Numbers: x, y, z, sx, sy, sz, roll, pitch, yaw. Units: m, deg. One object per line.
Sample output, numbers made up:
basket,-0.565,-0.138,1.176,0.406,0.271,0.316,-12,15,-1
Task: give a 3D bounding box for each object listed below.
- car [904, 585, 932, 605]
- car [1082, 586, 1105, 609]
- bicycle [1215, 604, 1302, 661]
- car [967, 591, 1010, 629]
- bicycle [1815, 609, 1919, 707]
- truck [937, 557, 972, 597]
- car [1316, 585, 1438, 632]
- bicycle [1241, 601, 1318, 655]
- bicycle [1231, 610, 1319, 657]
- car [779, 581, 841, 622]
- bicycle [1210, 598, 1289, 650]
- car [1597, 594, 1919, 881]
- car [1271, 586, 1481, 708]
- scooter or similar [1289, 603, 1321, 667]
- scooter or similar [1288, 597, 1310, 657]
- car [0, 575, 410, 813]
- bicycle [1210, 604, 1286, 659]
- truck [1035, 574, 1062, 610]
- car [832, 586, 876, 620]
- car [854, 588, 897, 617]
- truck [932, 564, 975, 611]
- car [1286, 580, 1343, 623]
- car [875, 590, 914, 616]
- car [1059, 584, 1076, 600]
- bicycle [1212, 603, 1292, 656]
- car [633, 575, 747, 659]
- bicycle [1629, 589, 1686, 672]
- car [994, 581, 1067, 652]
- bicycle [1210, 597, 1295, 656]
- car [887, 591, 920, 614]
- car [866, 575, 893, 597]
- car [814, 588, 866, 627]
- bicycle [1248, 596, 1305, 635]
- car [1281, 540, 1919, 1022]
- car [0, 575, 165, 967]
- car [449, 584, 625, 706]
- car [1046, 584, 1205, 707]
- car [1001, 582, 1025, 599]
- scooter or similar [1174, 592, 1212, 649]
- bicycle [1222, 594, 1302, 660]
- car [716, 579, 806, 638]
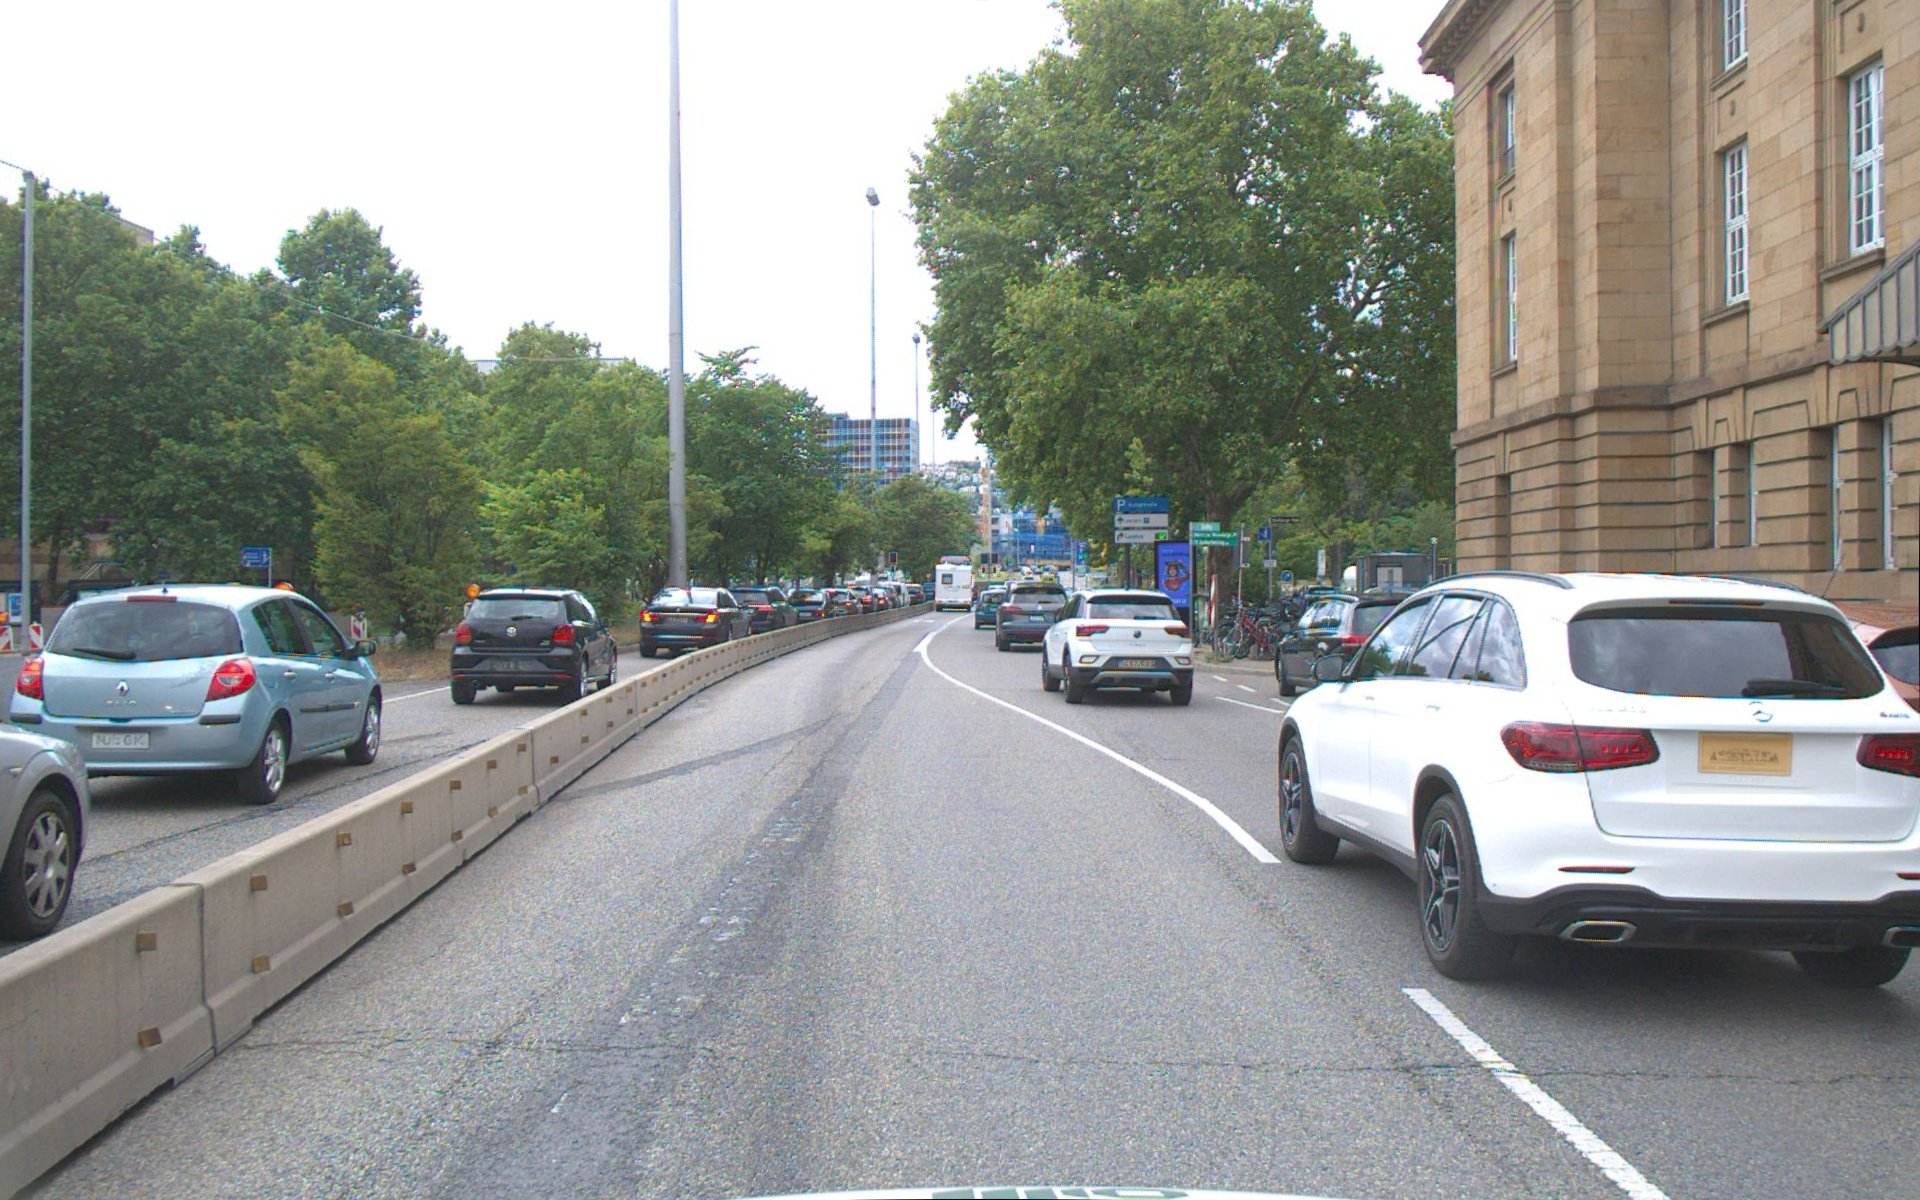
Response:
car,-2.842,-0.336,112.386,1.624,1.343,3.549,1,0,3
car,12.020,-0.251,149.621,1.952,2.049,4.002,1,0,3
bicycle,5.948,0.645,32.960,1.628,1.093,0.585,1,0,21
car,1.121,0.384,64.692,1.625,1.438,3.548,1,0,1
bicycle,10.391,0.640,18.988,0.217,1.047,1.859,1,0,1
truck,-0.394,-1.858,134.985,2.636,3.044,5.638,2,0,1
car,14.148,0.279,56.221,3.756,1.596,1.680,0,0,2
bicycle,6.561,0.570,33.954,1.530,1.046,0.436,1,0,13
bicycle,6.438,0.675,33.791,1.692,0.933,0.614,0,0,20
car,-5.269,0.030,58.551,1.643,1.391,4.544,0,0,2
bicycle,6.430,0.529,36.761,1.691,1.110,0.381,1,0,14
car,5.641,0.722,10.677,1.582,1.480,3.859,-1,0,1
car,5.625,0.585,22.883,1.752,1.512,4.325,1,0,-1
scooter or similar,7.241,0.723,34.704,0.550,1.301,1.149,1,0,7
scooter or similar,7.147,0.563,34.887,0.416,1.245,1.313,1,0,11
car,-5.532,0.608,12.635,1.639,1.533,3.850,1,0,-5
bicycle,6.071,0.663,34.816,1.588,1.150,0.466,1,0,-25
truck,10.388,-0.921,194.767,2.818,4.175,6.639,1,0,1
car,-4.663,0.098,73.087,1.740,1.445,3.999,0,1,-1
car,-4.101,0.116,80.834,1.624,1.343,3.549,1,0,5
truck,-0.348,-0.789,106.944,2.567,2.911,7.079,1,0,1
car,14.690,0.041,68.703,1.723,1.579,4.029,0,2,3
car,-3.471,0.163,87.701,1.624,1.343,3.549,1,0,5
car,11.603,-0.876,179.208,1.722,1.698,4.169,0,1,2
bicycle,6.421,0.642,36.369,1.691,1.110,0.575,1,0,10
car,-5.748,0.339,35.734,1.885,1.664,4.933,1,0,-3
bicycle,10.505,0.443,24.940,0.270,1.203,1.539,-1,0,4
car,1.722,0.397,41.467,1.625,1.668,3.547,1,0,-1
bicycle,6.350,0.564,35.914,1.722,1.230,0.604,1,0,-2
car,-3.315,0.155,97.406,1.624,1.343,3.549,1,0,3
car,-7.519,-1.265,154.676,2.071,2.004,5.580,0,0,2
car,-4.724,0.300,65.541,1.627,1.461,3.961,1,0,2
bicycle,10.120,0.503,52.977,1.747,1.242,0.492,0,0,4
car,2.883,0.628,7.943,1.751,1.653,4.436,1,0,-1
car,-4.525,0.648,5.463,1.842,1.507,4.699,1,0,-5
car,-5.566,0.548,22.212,1.627,1.479,4.193,1,0,-5
car,2.303,0.606,23.935,1.760,1.636,3.753,1,0,-3
car,4.379,-0.770,136.086,1.906,1.343,4.018,1,0,3
scooter or similar,5.645,0.492,40.176,0.710,1.354,1.413,1,0,1
bicycle,6.096,0.543,33.391,1.510,1.278,0.543,1,0,20
car,-5.396,0.224,45.403,1.778,1.525,4.770,0,0,2
